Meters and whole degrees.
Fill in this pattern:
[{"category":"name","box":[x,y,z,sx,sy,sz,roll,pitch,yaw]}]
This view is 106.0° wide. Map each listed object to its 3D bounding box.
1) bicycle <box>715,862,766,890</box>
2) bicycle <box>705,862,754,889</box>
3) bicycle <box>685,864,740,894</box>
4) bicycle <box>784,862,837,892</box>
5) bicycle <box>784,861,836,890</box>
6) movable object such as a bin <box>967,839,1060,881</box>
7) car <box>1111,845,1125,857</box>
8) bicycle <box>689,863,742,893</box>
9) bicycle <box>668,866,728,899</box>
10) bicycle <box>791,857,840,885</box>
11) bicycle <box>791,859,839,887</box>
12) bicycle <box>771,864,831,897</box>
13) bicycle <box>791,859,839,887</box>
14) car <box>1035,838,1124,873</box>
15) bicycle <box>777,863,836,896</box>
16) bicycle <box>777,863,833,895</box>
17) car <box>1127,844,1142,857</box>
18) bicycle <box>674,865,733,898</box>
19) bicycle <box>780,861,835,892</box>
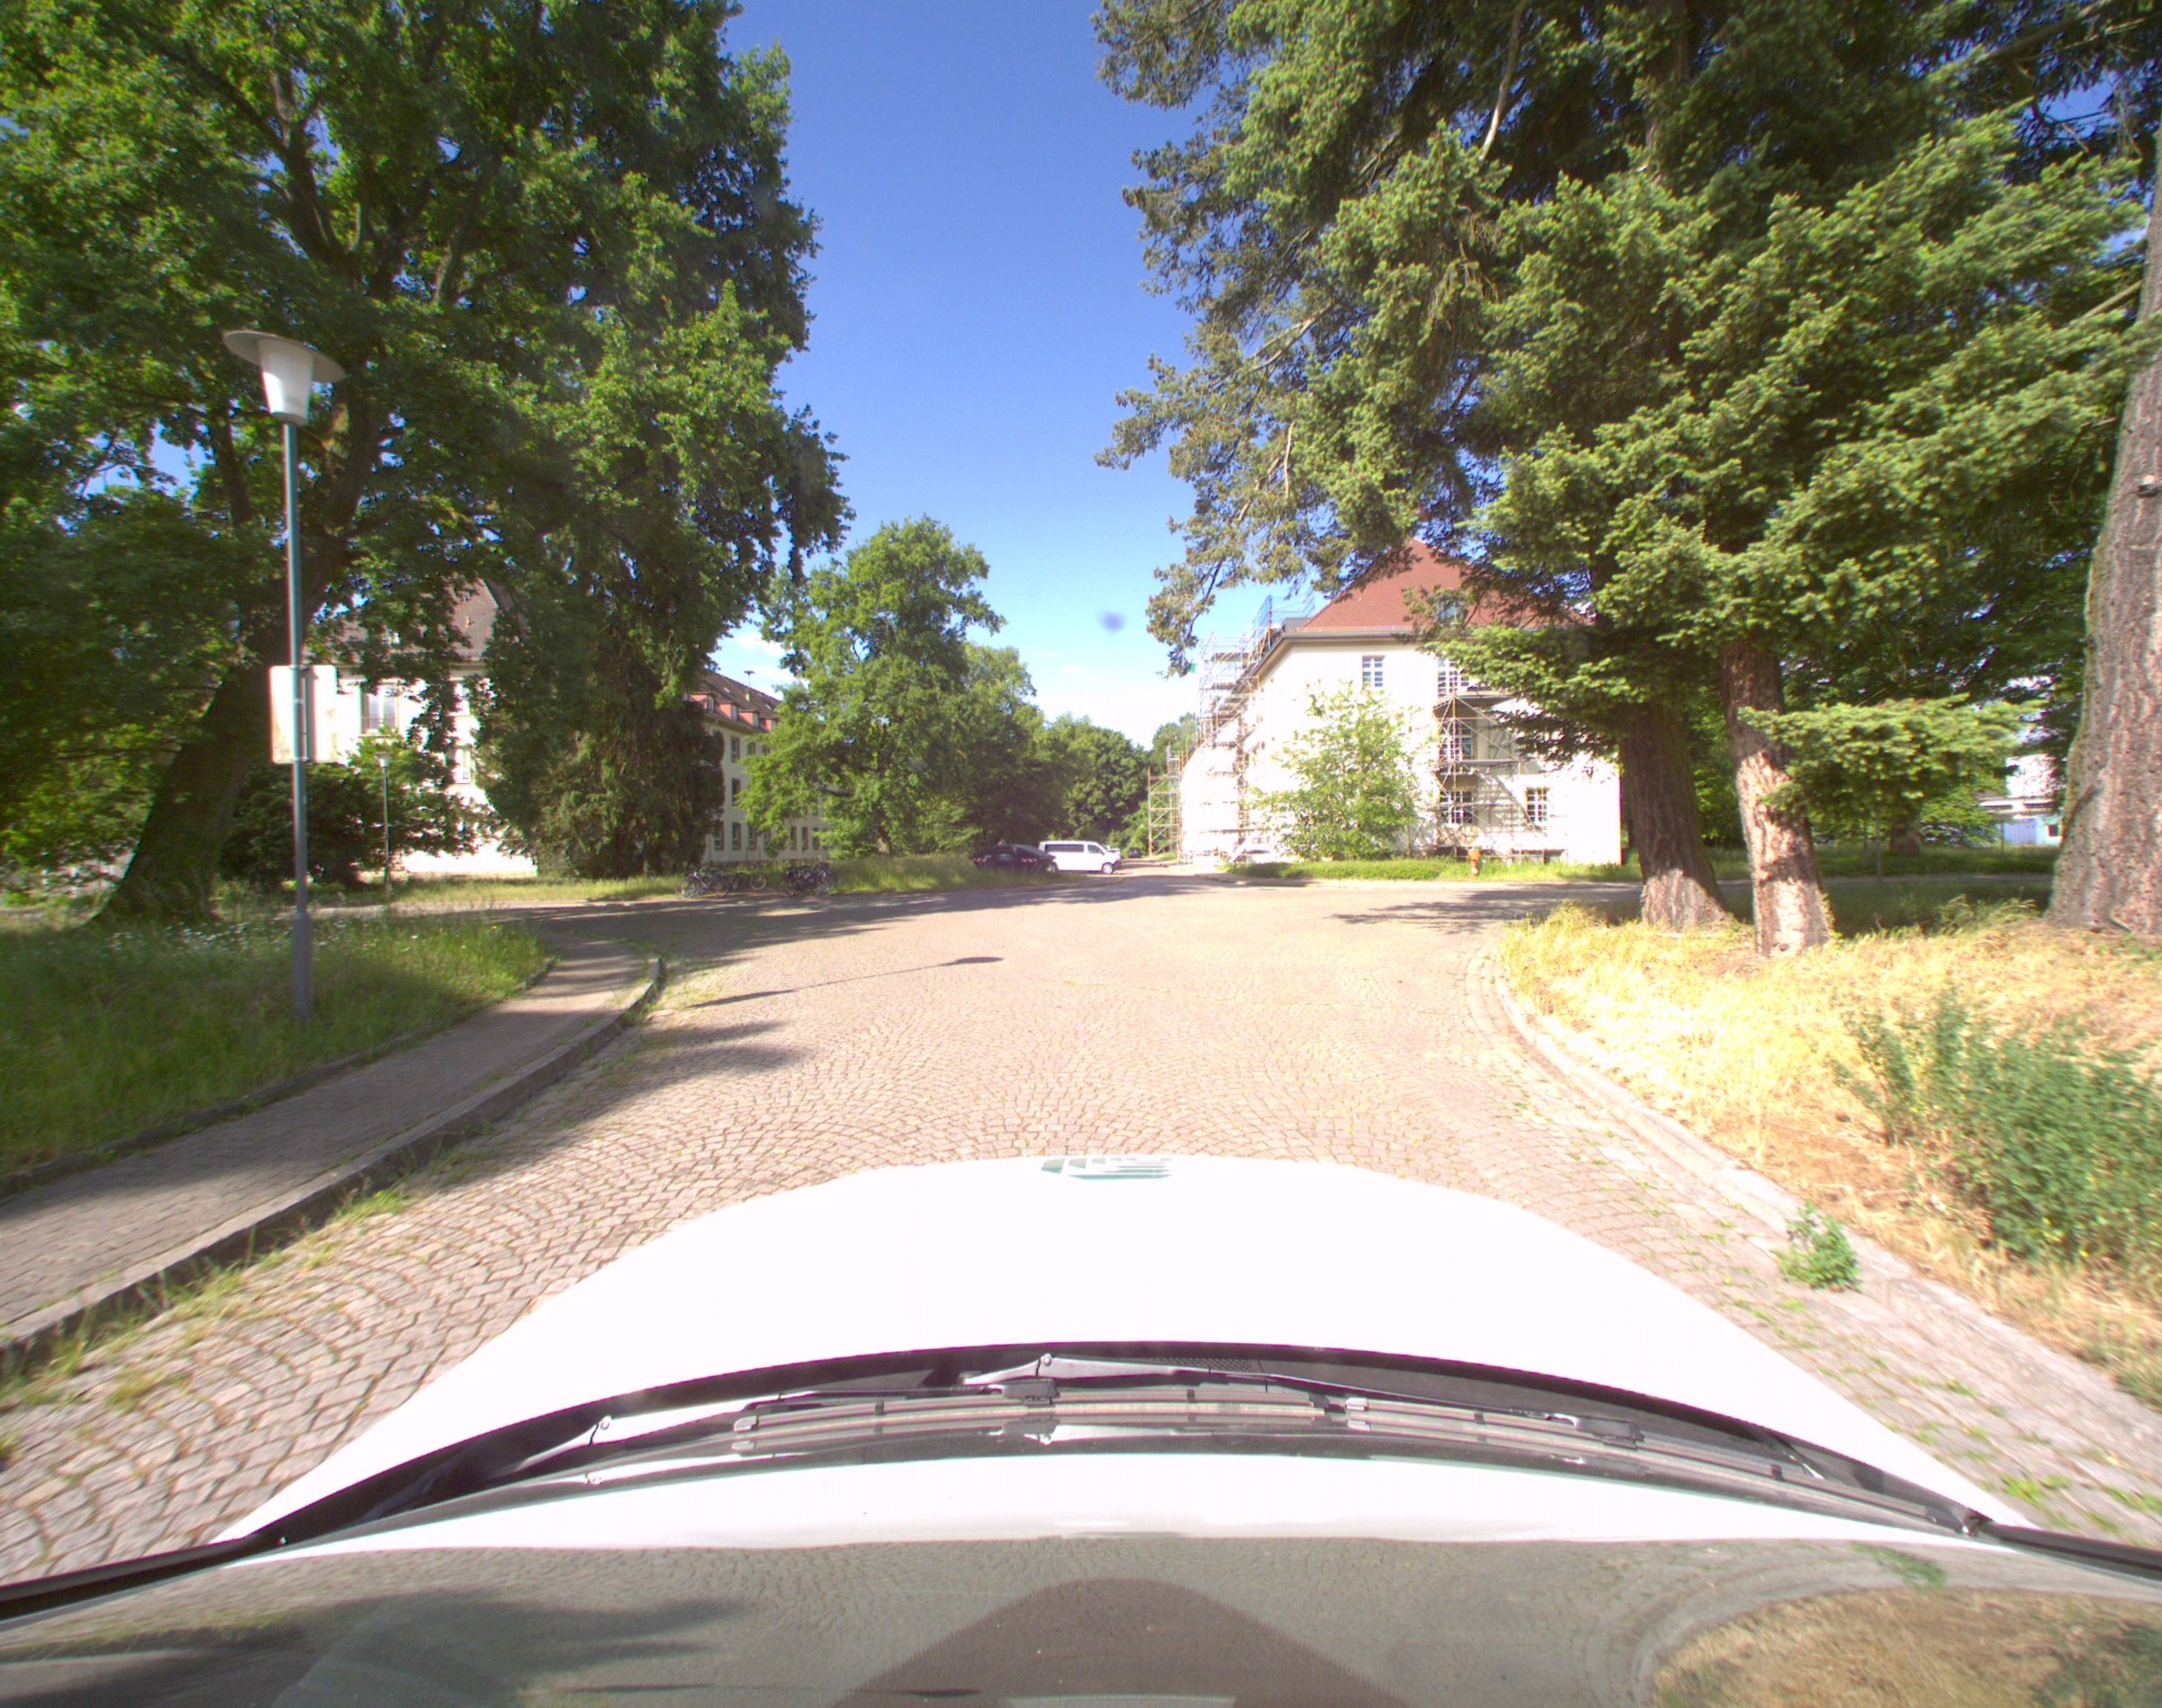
[{"category":"bicycle","box":[-14.205,0.910,34.025,1.918,1.102,0.567,-1,2,-18]},{"category":"bicycle","box":[-15.326,0.930,35.515,1.920,1.102,0.566,-1,2,-22]},{"category":"bicycle","box":[-14.300,0.958,31.642,1.923,1.102,0.565,-1,2,-26]},{"category":"bicycle","box":[-10.651,0.890,32.079,1.920,1.058,0.472,-3,1,-21]},{"category":"bicycle","box":[-10.940,0.862,32.930,1.919,1.058,0.473,-3,1,-19]},{"category":"movable object such as a bin","box":[-2.983,0.261,36.329,3.535,1.744,2.035,-2,0,20]},{"category":"car","box":[5.195,-0.383,115.296,1.805,1.579,4.136,-2,0,2]},{"category":"bicycle","box":[-14.781,0.960,32.955,1.923,1.102,0.565,-1,2,-26]},{"category":"bicycle","box":[-13.844,1.021,29.474,1.921,1.102,0.566,-2,2,-23]},{"category":"bicycle","box":[-11.303,0.732,34.673,1.919,1.058,0.473,-3,1,-19]},{"category":"bicycle","box":[-11.608,0.824,35.587,1.919,1.058,0.473,-3,1,-19]},{"category":"bicycle","box":[-10.014,0.929,29.162,1.924,1.058,0.472,-4,1,-28]},{"category":"bicycle","box":[-11.464,0.801,35.145,1.919,1.058,0.473,-3,1,-19]},{"category":"car","box":[-0.057,0.091,49.363,5.215,2.016,1.951,-1,0,1]},{"category":"bicycle","box":[-10.007,0.932,29.718,1.924,1.058,0.472,-4,1,-28]},{"category":"bicycle","box":[-10.407,0.923,30.720,1.920,1.058,0.472,-3,1,-21]},{"category":"car","box":[7.599,-0.497,115.537,1.963,1.668,4.088,-2,0,2]},{"category":"bicycle","box":[-13.902,0.997,30.033,1.921,1.102,0.566,-2,2,-23]},{"category":"bicycle","box":[-10.499,0.847,31.285,1.920,1.058,0.472,-3,1,-21]}]
